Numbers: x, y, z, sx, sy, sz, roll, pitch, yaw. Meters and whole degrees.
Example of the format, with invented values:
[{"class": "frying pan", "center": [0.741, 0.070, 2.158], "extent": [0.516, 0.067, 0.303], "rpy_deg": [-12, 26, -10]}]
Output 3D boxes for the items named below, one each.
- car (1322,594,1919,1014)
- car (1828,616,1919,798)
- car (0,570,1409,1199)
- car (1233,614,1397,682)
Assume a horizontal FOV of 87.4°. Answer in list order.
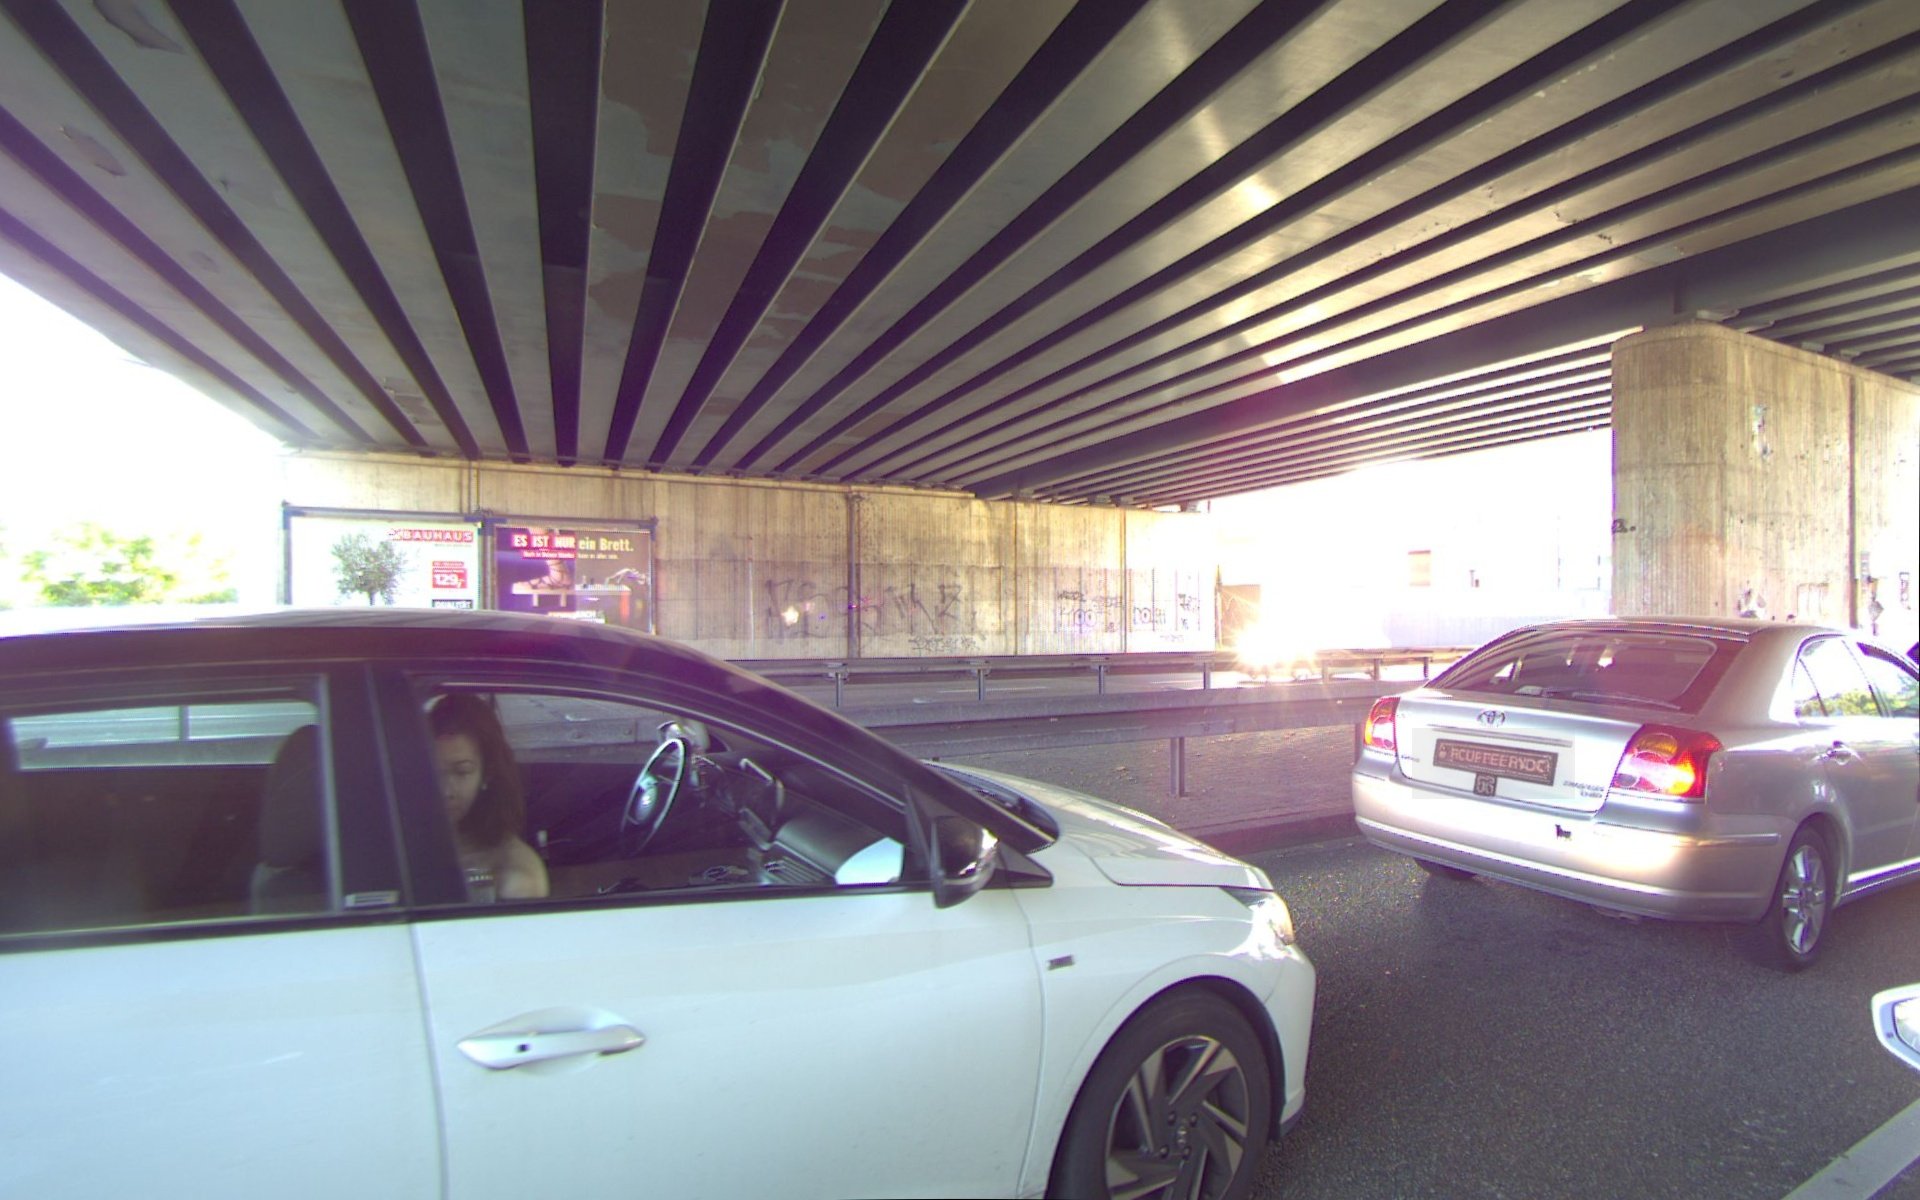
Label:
[{"class": "car", "center": [4.091, 0.776, 5.461], "extent": [4.270, 1.499, 1.724], "rpy_deg": [1, -1, -32]}, {"class": "car", "center": [9.531, 0.888, 8.858], "extent": [3.688, 1.457, 1.804], "rpy_deg": [0, 0, -31]}, {"class": "car", "center": [-0.960, 0.728, 2.267], "extent": [3.947, 1.499, 1.724], "rpy_deg": [1, -1, -32]}, {"class": "car", "center": [8.684, 1.126, 24.555], "extent": [3.775, 1.540, 1.613], "rpy_deg": [0, -1, -26]}]
